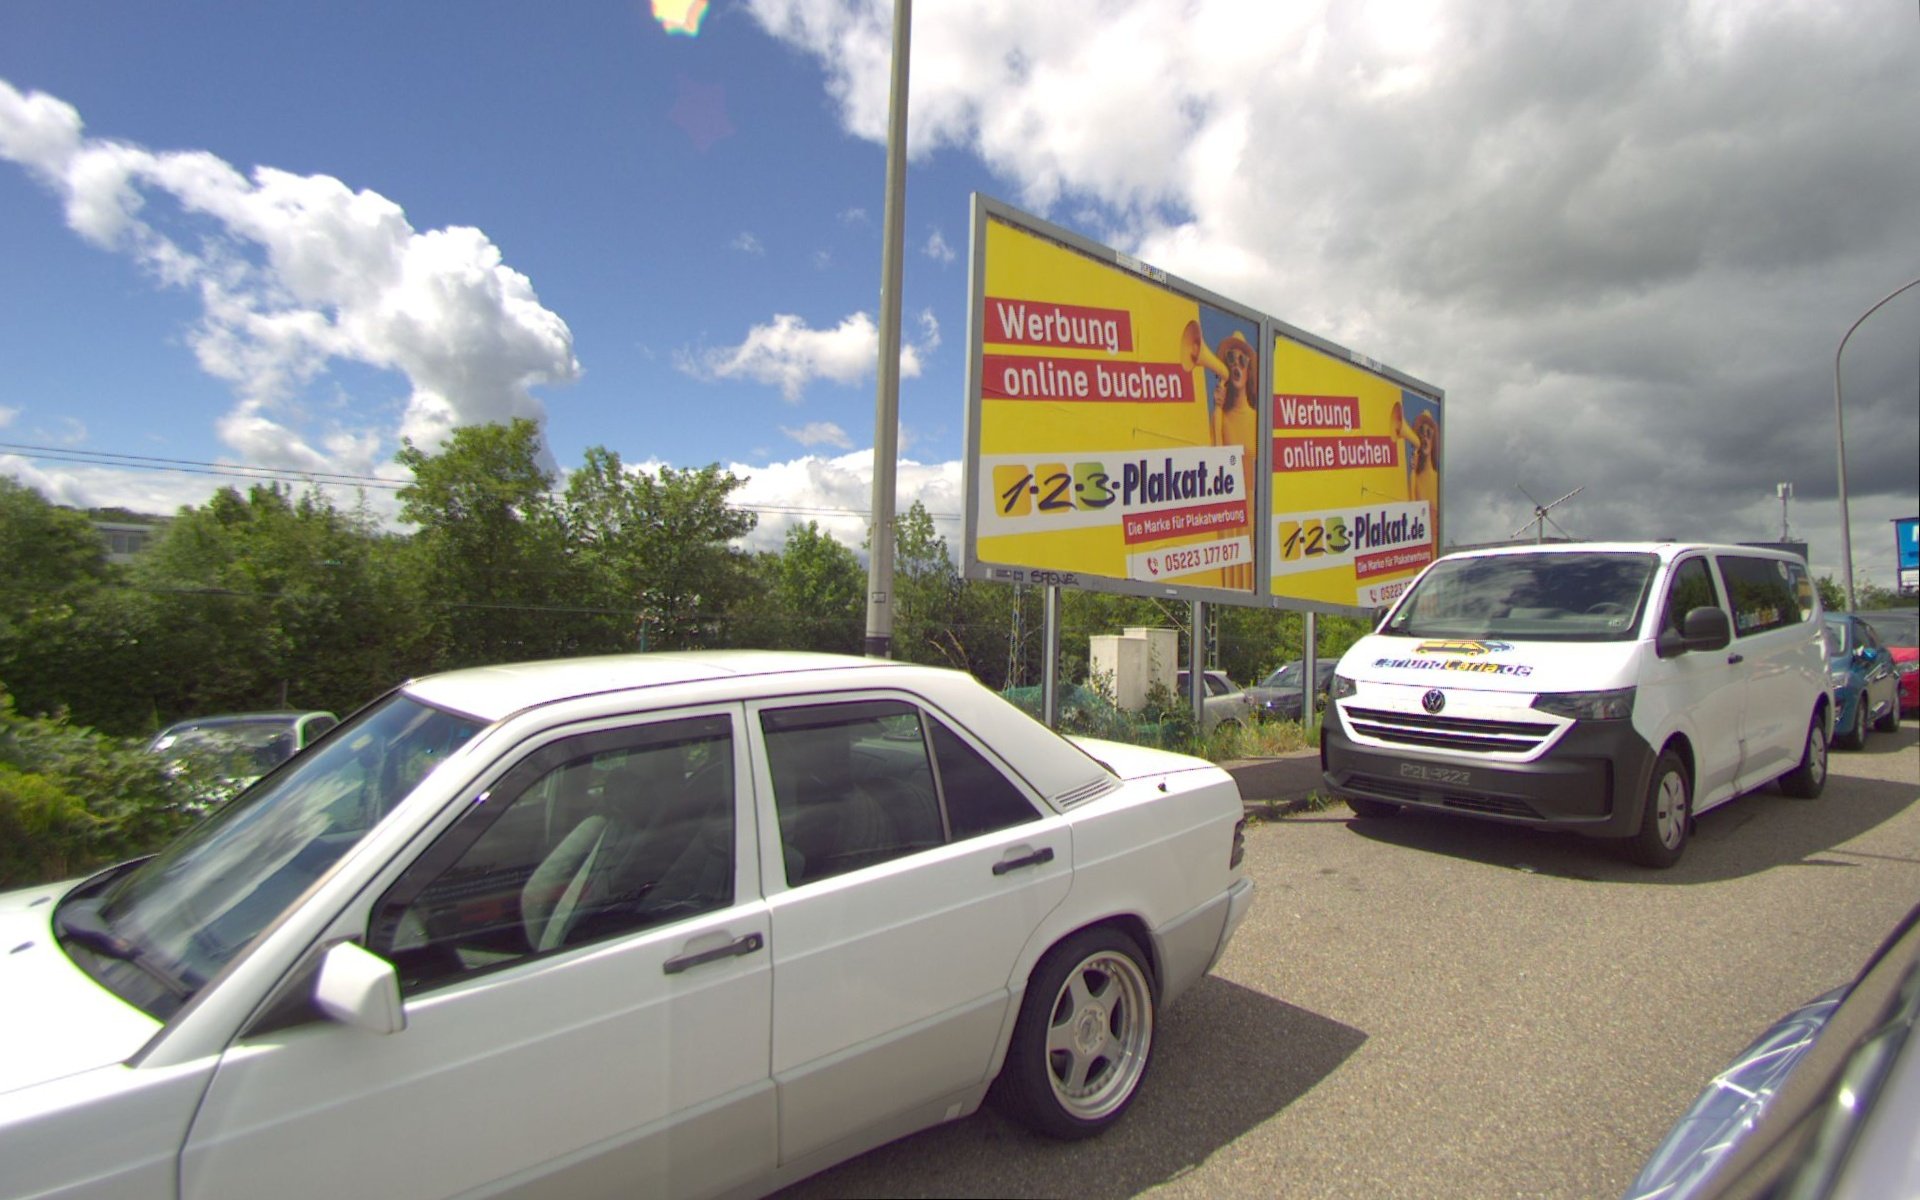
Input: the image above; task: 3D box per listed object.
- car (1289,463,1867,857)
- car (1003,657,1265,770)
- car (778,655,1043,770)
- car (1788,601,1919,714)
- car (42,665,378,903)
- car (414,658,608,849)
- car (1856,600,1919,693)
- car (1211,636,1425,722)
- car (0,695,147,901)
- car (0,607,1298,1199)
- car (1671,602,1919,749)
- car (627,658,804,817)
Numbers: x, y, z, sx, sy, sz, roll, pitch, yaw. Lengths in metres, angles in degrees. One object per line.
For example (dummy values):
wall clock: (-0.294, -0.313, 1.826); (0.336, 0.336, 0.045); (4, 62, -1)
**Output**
car: (4.952, 0.307, 7.691); (5.446, 2.029, 1.979); (0, -1, -38)
car: (3.053, 1.827, 17.322); (4.469, 1.460, 1.822); (0, 0, -36)
car: (-0.666, 1.550, 14.857); (3.643, 1.276, 1.576); (0, 0, -37)
car: (13.814, 0.765, 15.030); (3.435, 1.500, 1.597); (0, -1, -38)
car: (-7.406, 1.649, 10.479); (1.606, 1.660, 4.008); (0, 0, -18)
car: (-5.527, 1.643, 12.180); (1.757, 1.618, 4.004); (0, 0, -29)
car: (16.998, 0.763, 17.654); (2.806, 1.542, 1.596); (0, -1, -39)
car: (7.227, 1.496, 20.262); (4.469, 1.368, 1.822); (0, 0, -36)
car: (-9.208, 1.785, 9.316); (1.630, 1.399, 4.007); (0, 0, -23)
car: (-0.984, 0.736, 2.733); (4.128, 1.405, 1.641); (0, -1, -39)
car: (10.033, 0.764, 12.011); (3.907, 1.469, 1.596); (0, -1, -39)
car: (-3.381, 1.659, 13.466); (1.612, 1.509, 4.007); (0, 0, -24)
